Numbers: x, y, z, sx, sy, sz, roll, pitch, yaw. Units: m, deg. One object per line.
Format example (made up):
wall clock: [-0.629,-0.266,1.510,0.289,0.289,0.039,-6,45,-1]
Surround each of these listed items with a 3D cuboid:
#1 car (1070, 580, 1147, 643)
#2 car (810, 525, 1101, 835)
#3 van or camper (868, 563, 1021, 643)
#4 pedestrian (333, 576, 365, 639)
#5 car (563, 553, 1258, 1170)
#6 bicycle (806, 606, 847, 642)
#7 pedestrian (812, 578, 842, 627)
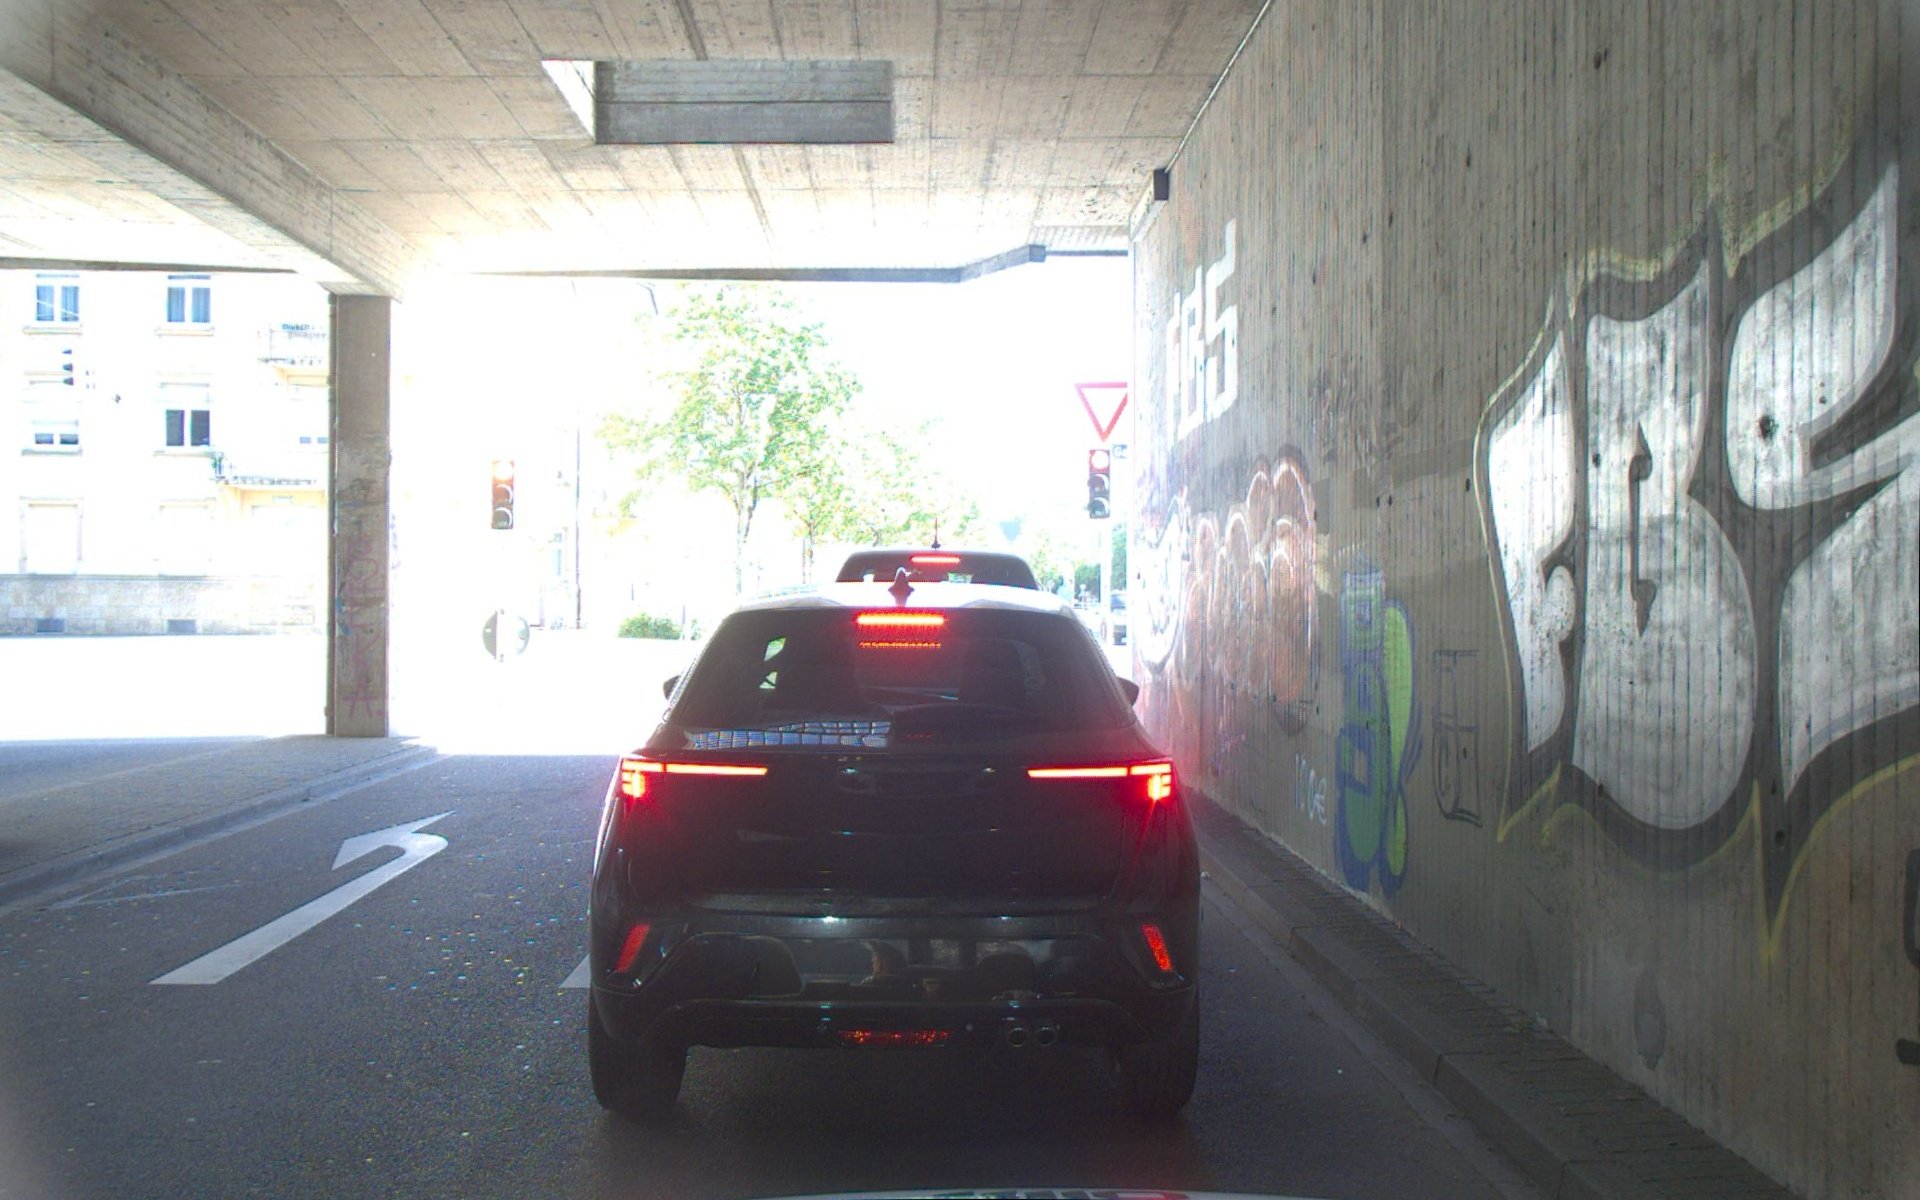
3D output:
car: [4.254,0.292,47.999,1.952,1.670,4.595,0,1,2]
car: [-0.050,0.478,12.063,1.749,1.865,3.960,1,0,-1]
van or camper: [-0.377,0.080,43.385,3.795,2.049,2.002,0,0,7]
pedestrian: [-17.100,0.201,46.300,0.707,1.734,0.623,1,-1,-9]
car: [-0.137,0.648,6.155,1.718,1.525,4.000,1,0,-1]
bicycle: [-4.478,0.799,55.661,0.721,1.150,2.027,0,0,16]
pedestrian: [-4.457,0.084,55.587,0.720,1.612,0.891,1,-1,15]
